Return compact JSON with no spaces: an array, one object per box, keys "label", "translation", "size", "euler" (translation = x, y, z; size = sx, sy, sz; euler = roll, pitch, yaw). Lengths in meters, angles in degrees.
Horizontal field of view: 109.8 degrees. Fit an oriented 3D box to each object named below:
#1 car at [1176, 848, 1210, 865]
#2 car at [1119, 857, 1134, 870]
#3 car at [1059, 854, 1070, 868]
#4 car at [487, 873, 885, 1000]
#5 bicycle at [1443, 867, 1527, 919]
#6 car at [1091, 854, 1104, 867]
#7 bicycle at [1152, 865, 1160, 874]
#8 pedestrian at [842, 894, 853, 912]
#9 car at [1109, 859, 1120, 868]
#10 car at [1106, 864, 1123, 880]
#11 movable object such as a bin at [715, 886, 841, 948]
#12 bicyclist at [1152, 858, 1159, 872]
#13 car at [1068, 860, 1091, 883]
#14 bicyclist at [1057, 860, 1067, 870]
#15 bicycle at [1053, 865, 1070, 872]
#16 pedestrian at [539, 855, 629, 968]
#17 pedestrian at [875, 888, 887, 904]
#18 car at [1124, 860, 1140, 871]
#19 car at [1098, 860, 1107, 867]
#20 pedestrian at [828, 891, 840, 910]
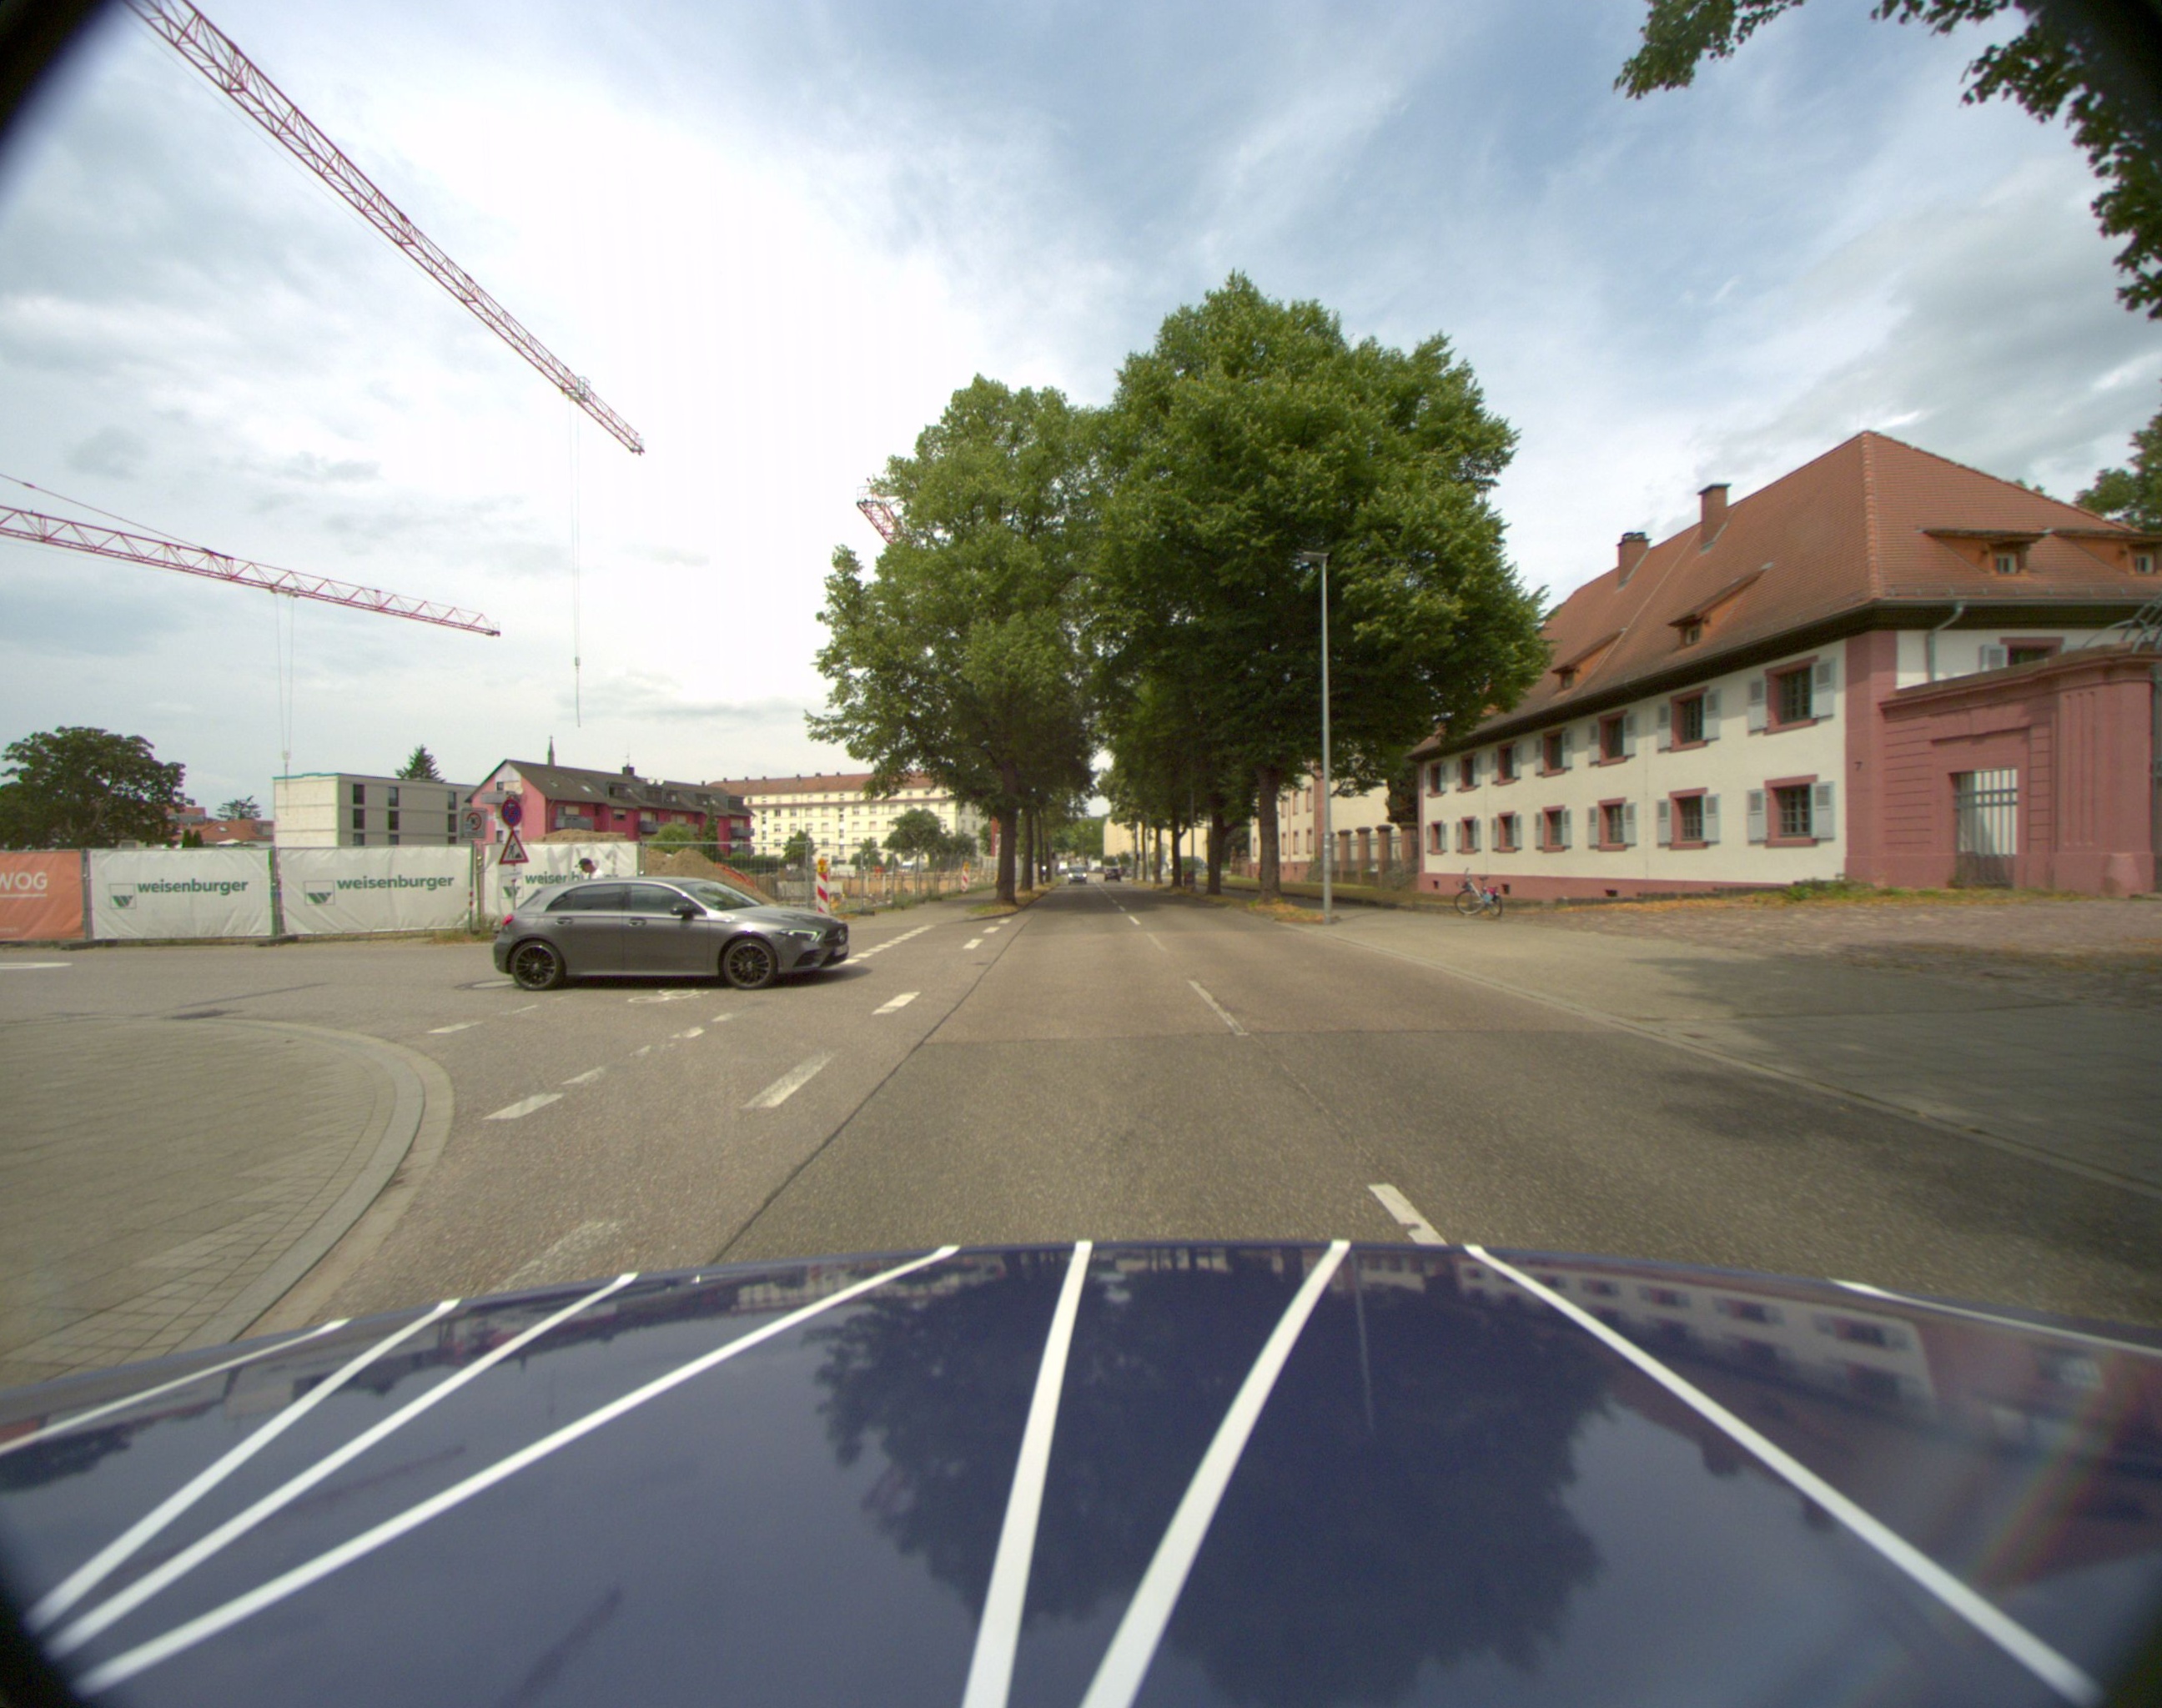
[{"label":"car","translation":[18.485,0.413,125.680],"size":[5.324,2.537,2.355],"euler":[-2,0,1]},{"label":"car","translation":[7.262,1.584,121.768],"size":[1.954,1.992,4.843],"euler":[-2,-1,-1]},{"label":"car","translation":[-3.243,1.363,150.936],"size":[1.900,2.587,4.903],"euler":[-3,0,-3]},{"label":"car","translation":[-5.173,1.056,10.437],"size":[4.382,1.434,2.010],"euler":[-1,2,2]},{"label":"bicycle","translation":[9.498,0.885,17.983],"size":[0.724,1.088,2.225],"euler":[-4,-1,0]},{"label":"car","translation":[3.985,1.540,183.582],"size":[2.622,3.039,7.112],"euler":[1,-1,-3]},{"label":"bicycle","translation":[9.238,1.885,93.966],"size":[0.724,1.088,2.151],"euler":[-4,0,0]},{"label":"pedestrian","translation":[-23.752,4.975,77.177],"size":[0.842,1.712,0.722],"euler":[2,1,42]},{"label":"car","translation":[6.269,1.831,144.297],"size":[1.627,1.565,3.998],"euler":[0,0,-4]},{"label":"car","translation":[3.704,1.970,84.394],"size":[1.776,1.649,4.257],"euler":[1,1,1]},{"label":"movable object such as a bin","translation":[-14.644,2.965,36.874],"size":[4.689,2.574,3.136],"euler":[1,0,14]},{"label":"bicyclist","translation":[9.208,1.349,93.928],"size":[0.724,1.646,0.958],"euler":[-4,0,0]},{"label":"car","translation":[-0.194,1.668,73.467],"size":[1.999,2.002,3.999],"euler":[2,0,-3]},{"label":"bicyclist","translation":[-2.746,1.634,109.344],"size":[1.078,1.404,0.716],"euler":[-3,-2,32]},{"label":"bicycle","translation":[-2.770,2.113,109.352],"size":[2.473,0.927,0.716],"euler":[-1,-1,32]},{"label":"pedestrian","translation":[-8.362,0.931,12.803],"size":[0.883,1.803,0.890],"euler":[2,0,19]},{"label":"pedestrian","translation":[-21.316,4.486,80.974],"size":[0.842,1.712,0.986],"euler":[2,1,42]},{"label":"car","translation":[7.490,1.655,111.187],"size":[1.827,1.464,4.297],"euler":[-2,0,-2]},{"label":"car","translation":[4.784,2.120,168.108],"size":[1.722,1.615,3.838],"euler":[0,0,-5]},{"label":"pedestrian","translation":[-23.734,4.449,72.971],"size":[0.718,1.712,0.847],"euler":[2,1,34]}]
